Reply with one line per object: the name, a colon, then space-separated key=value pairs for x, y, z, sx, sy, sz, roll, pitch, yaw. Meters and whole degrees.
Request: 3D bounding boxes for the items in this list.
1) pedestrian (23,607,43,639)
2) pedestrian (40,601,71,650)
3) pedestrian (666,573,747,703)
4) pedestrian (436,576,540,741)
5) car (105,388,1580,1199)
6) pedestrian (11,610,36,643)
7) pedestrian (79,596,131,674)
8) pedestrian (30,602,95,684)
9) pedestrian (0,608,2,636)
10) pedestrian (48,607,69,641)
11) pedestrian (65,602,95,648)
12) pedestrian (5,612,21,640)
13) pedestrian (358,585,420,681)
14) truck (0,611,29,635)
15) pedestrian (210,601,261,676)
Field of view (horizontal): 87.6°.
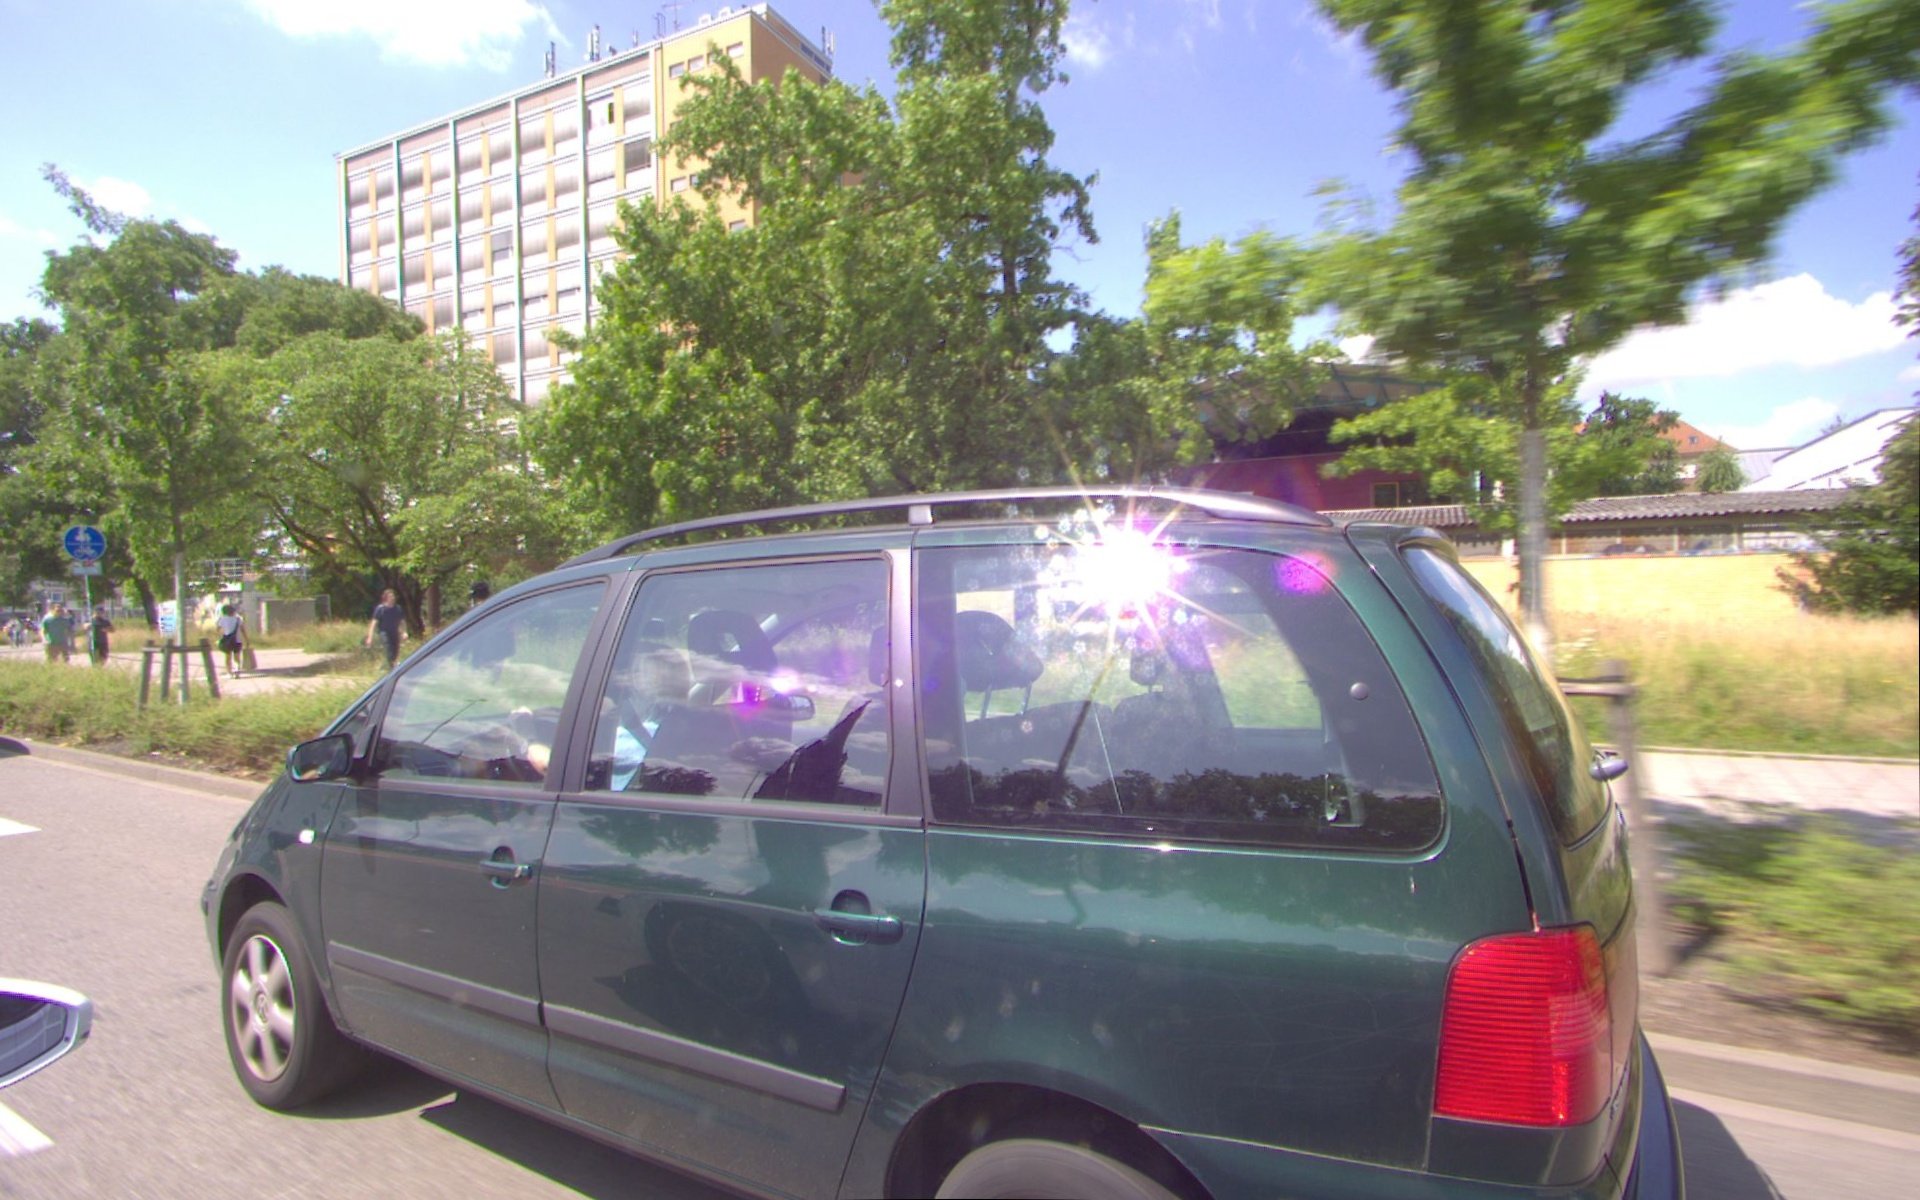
pedestrian: x=-54.118 y=1.369 z=58.466 sx=0.630 sy=1.844 sz=0.752 roll=-1 pitch=-1 yaw=40
pedestrian: x=-34.765 y=0.973 z=38.493 sx=0.602 sy=1.827 sz=0.746 roll=0 pitch=2 yaw=38
pedestrian: x=-3.587 y=0.517 z=14.170 sx=0.865 sy=1.774 sz=0.665 roll=0 pitch=2 yaw=31
pedestrian: x=-5.325 y=0.629 z=11.304 sx=0.835 sy=1.774 sz=0.665 roll=0 pitch=2 yaw=31
car: x=-0.660 y=0.663 z=3.124 sx=4.383 sy=1.745 sz=1.792 roll=0 pitch=-2 yaw=32
pedestrian: x=-52.905 y=1.501 z=56.582 sx=0.769 sy=1.846 sz=0.753 roll=-1 pitch=3 yaw=34
pedestrian: x=-19.873 y=0.803 z=23.282 sx=0.599 sy=1.770 sz=0.666 roll=0 pitch=2 yaw=26
pedestrian: x=-20.215 y=0.955 z=22.559 sx=0.867 sy=1.802 sz=0.749 roll=0 pitch=2 yaw=26
pedestrian: x=-54.698 y=1.237 z=56.538 sx=0.751 sy=1.610 sz=0.754 roll=-1 pitch=-1 yaw=34
pedestrian: x=-49.630 y=1.337 z=55.122 sx=0.666 sy=1.844 sz=0.752 roll=-1 pitch=-1 yaw=41
pedestrian: x=-34.585 y=0.966 z=39.345 sx=0.602 sy=1.776 sz=0.746 roll=0 pitch=2 yaw=38
pedestrian: x=-54.717 y=1.504 z=57.880 sx=0.719 sy=1.647 sz=0.585 roll=-1 pitch=-1 yaw=40
pedestrian: x=-10.818 y=0.604 z=18.993 sx=0.657 sy=1.774 sz=0.747 roll=0 pitch=2 yaw=31
truck: x=-115.642 y=2.744 z=119.468 sx=2.843 sy=2.890 sz=8.778 roll=0 pitch=0 yaw=-15
pedestrian: x=-15.983 y=0.831 z=22.086 sx=0.638 sy=1.618 sz=0.665 roll=0 pitch=2 yaw=31
